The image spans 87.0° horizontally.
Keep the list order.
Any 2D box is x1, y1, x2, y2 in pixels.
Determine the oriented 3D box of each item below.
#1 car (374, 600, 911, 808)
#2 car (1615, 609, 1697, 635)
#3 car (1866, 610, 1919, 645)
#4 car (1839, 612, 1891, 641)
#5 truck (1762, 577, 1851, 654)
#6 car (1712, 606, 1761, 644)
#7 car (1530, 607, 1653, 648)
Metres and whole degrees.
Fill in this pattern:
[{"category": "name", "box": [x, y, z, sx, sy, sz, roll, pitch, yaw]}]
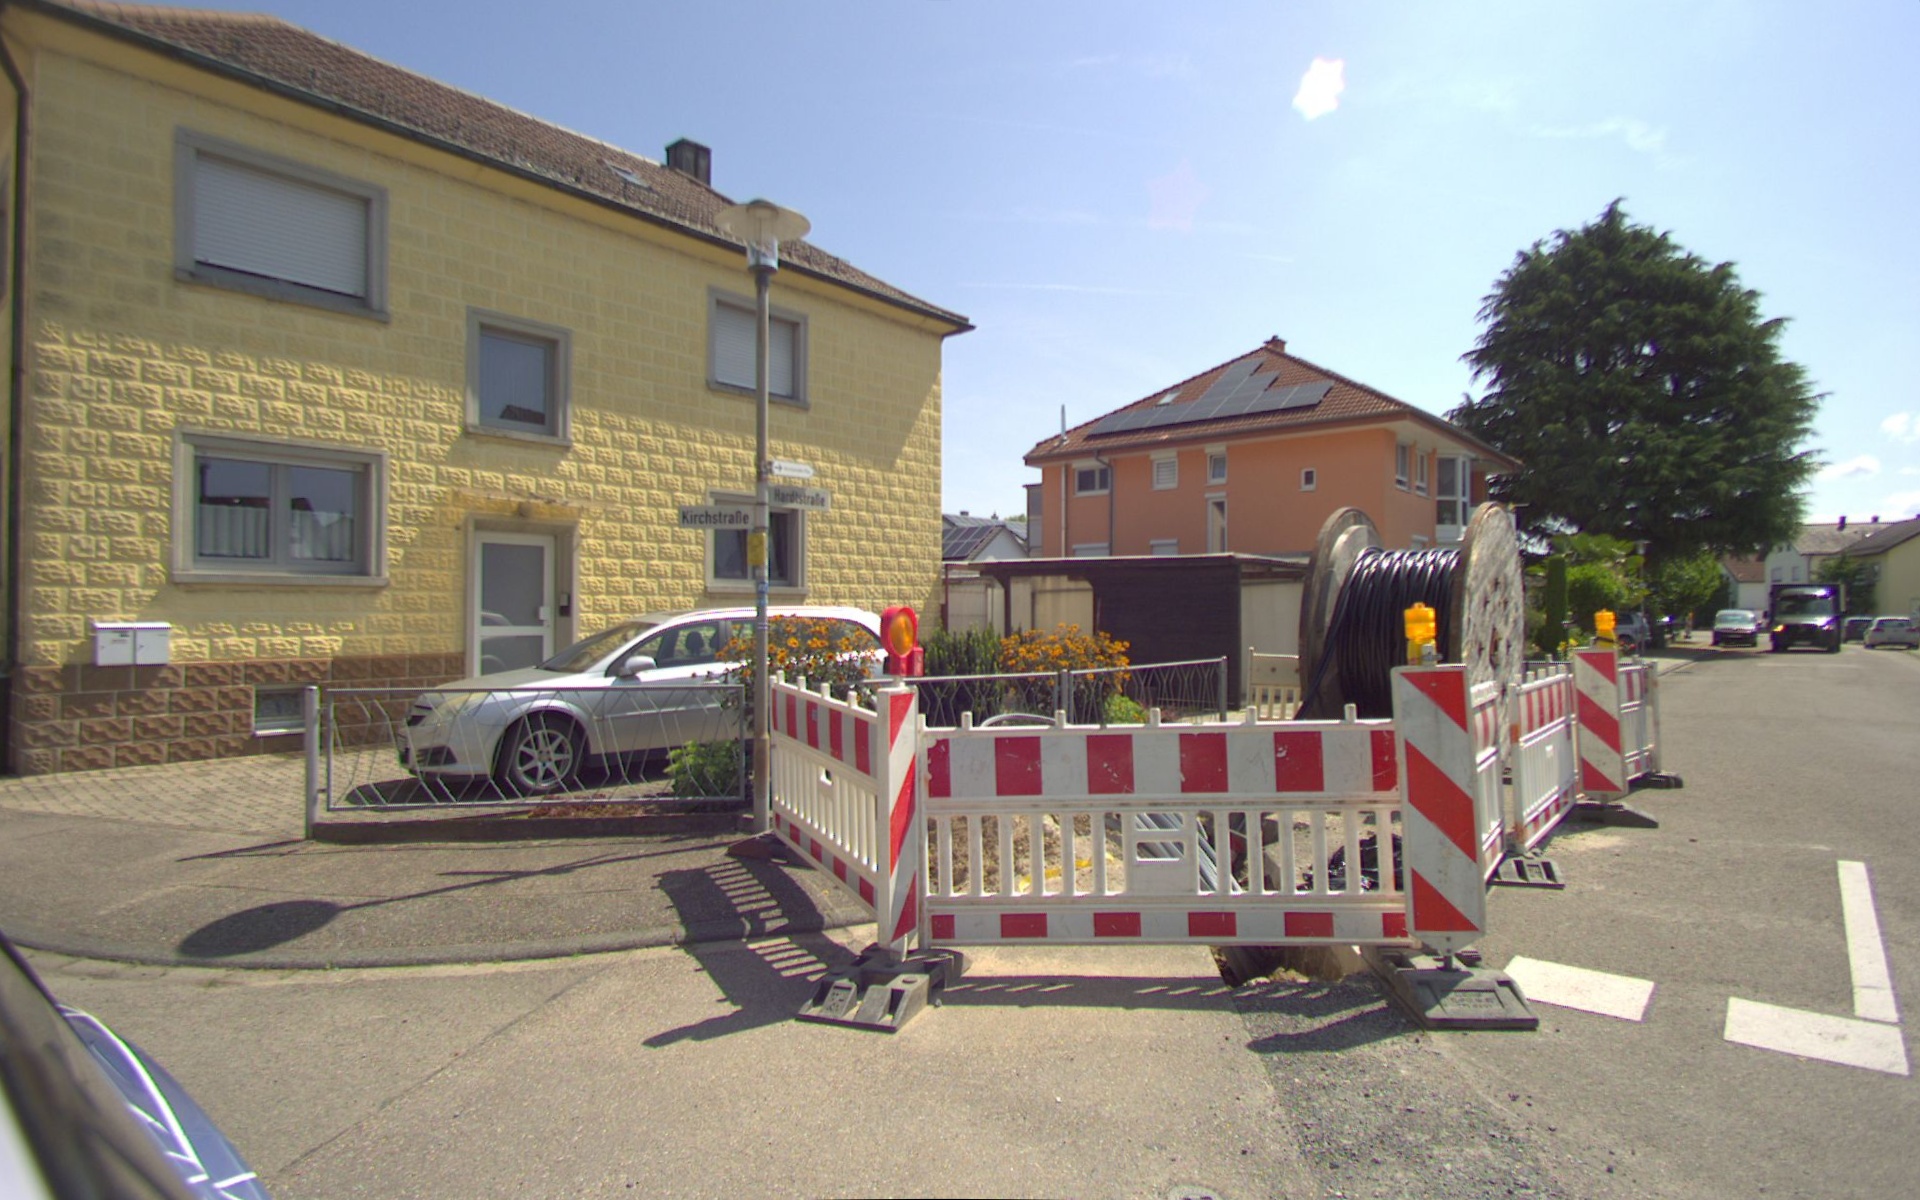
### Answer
[{"category": "car", "box": [-2.762, 0.788, 9.367, 4.400, 1.496, 1.796, 1, -1, -38]}, {"category": "car", "box": [45.470, 1.447, 66.134, 4.206, 1.665, 1.788, -1, -1, 43]}, {"category": "car", "box": [42.666, 1.224, 46.020, 1.811, 1.506, 3.950, -1, -1, 37]}, {"category": "car", "box": [50.296, 1.449, 56.295, 1.811, 1.506, 3.950, -1, -1, 37]}, {"category": "truck", "box": [34.746, 0.664, 41.456, 2.440, 2.809, 7.197, -5, -4, 41]}, {"category": "car", "box": [37.976, 1.222, 49.553, 1.811, 1.776, 4.153, -1, -1, 37]}, {"category": "car", "box": [26.930, 1.163, 43.248, 4.206, 1.665, 1.788, -1, -1, 43]}]
